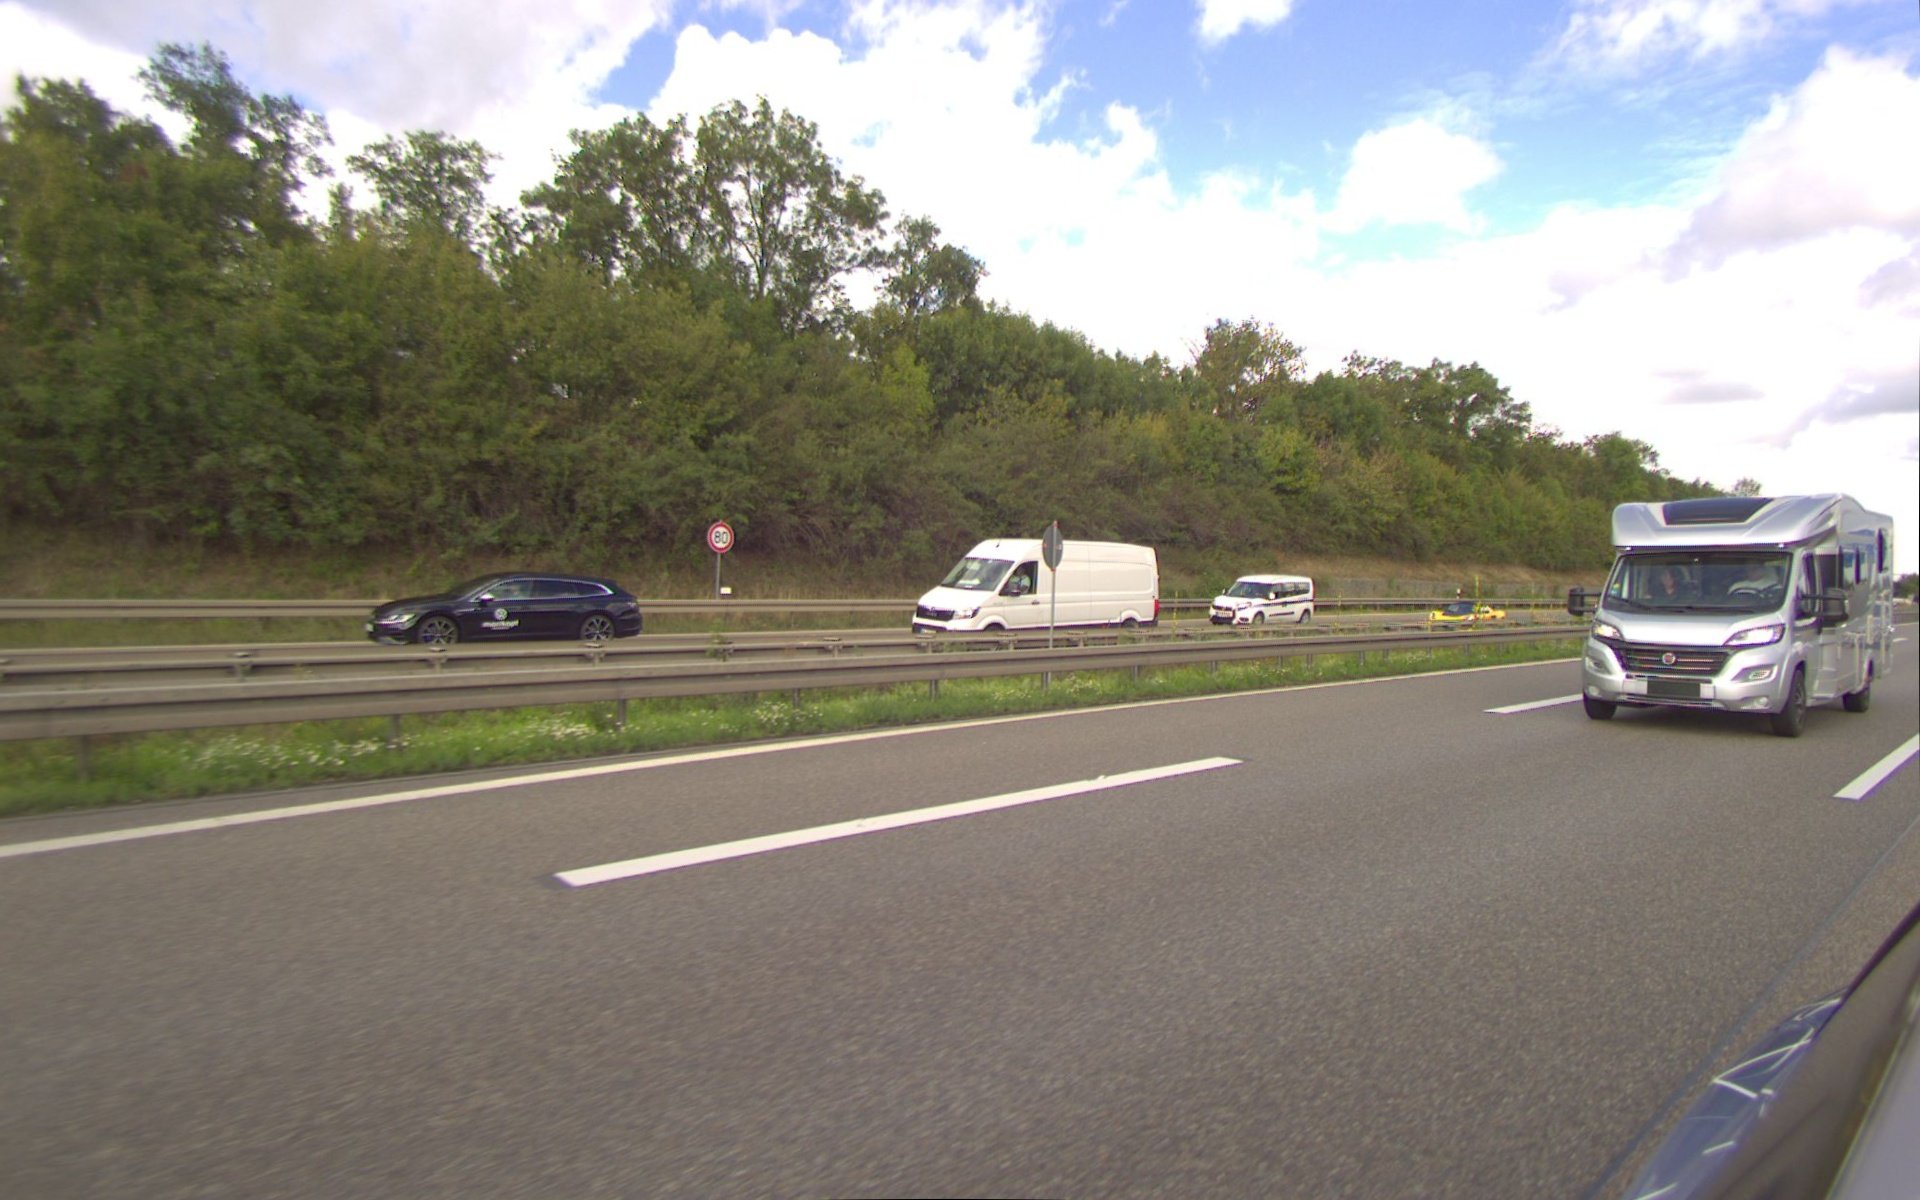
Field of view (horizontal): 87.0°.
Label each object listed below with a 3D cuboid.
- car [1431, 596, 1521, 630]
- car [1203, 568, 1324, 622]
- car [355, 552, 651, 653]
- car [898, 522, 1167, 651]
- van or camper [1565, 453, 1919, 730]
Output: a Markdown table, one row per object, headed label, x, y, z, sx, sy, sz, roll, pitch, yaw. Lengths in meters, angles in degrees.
| label | x | y | z | sx | sy | sz | roll | pitch | yaw |
| --- | --- | --- | --- | --- | --- | --- | --- | --- | --- |
| car | 19.821 | 0.468 | 38.807 | 4.096 | 1.196 | 1.714 | 0 | 1 | -42 |
| car | 10.682 | -0.168 | 35.444 | 4.680 | 1.774 | 1.846 | 0 | 0 | -41 |
| car | -8.411 | 0.010 | 18.900 | 4.682 | 1.622 | 1.847 | 0 | 3 | -42 |
| car | 1.849 | -0.292 | 23.268 | 6.625 | 2.586 | 2.074 | 0 | 2 | -41 |
| van or camper | 10.785 | -0.104 | 13.526 | 7.528 | 2.756 | 2.473 | 0 | 0 | -41 |
